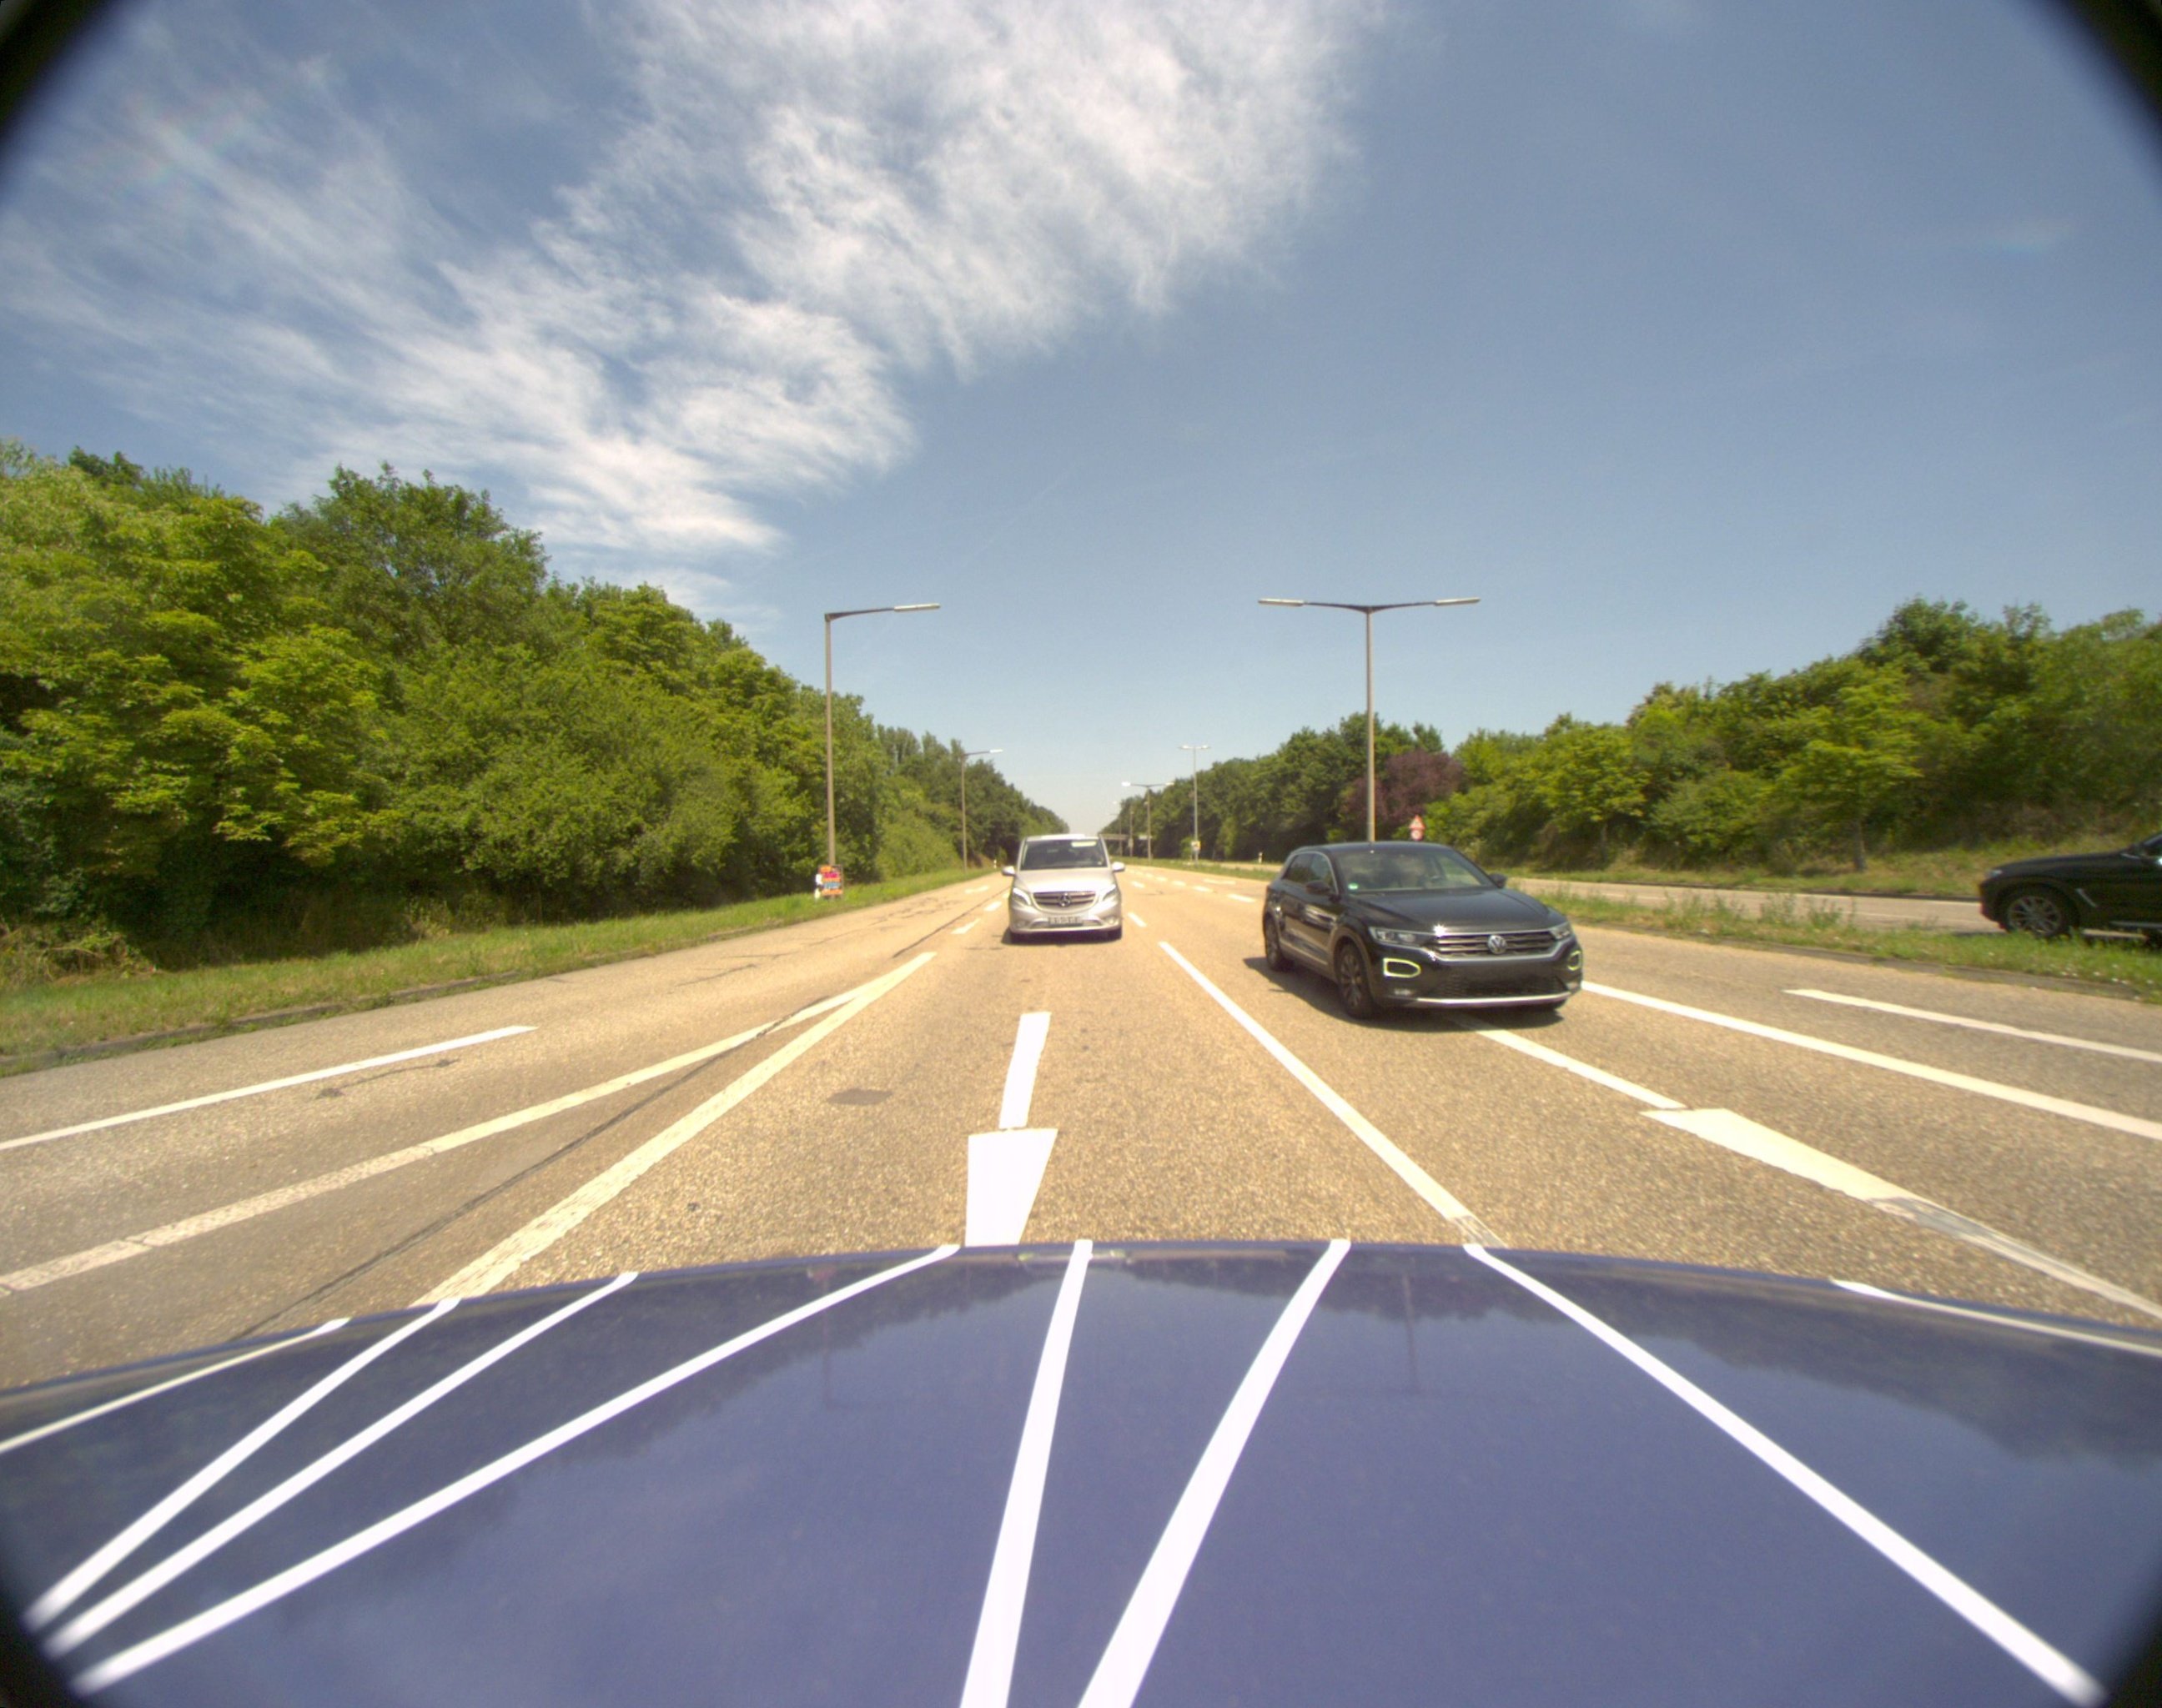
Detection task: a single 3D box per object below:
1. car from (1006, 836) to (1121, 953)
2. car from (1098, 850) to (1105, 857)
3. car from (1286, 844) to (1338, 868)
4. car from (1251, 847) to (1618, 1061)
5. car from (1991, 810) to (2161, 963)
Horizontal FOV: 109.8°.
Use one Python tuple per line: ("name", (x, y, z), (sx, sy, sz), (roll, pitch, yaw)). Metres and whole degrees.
("car", (-0.303, 0.628, 14.566), (1.765, 1.795, 4.854), (-3, 1, -1))
("car", (5.417, -0.157, 200.150), (1.735, 1.815, 4.321), (-1, 1, 0))
("car", (14.580, 0.093, 48.213), (1.827, 1.447, 4.167), (-1, 1, -3))
("car", (3.058, 0.719, 7.587), (1.739, 1.503, 3.970), (-3, 1, -1))
("car", (12.476, 0.338, 7.589), (1.711, 1.653, 4.222), (-1, 0, 0))
